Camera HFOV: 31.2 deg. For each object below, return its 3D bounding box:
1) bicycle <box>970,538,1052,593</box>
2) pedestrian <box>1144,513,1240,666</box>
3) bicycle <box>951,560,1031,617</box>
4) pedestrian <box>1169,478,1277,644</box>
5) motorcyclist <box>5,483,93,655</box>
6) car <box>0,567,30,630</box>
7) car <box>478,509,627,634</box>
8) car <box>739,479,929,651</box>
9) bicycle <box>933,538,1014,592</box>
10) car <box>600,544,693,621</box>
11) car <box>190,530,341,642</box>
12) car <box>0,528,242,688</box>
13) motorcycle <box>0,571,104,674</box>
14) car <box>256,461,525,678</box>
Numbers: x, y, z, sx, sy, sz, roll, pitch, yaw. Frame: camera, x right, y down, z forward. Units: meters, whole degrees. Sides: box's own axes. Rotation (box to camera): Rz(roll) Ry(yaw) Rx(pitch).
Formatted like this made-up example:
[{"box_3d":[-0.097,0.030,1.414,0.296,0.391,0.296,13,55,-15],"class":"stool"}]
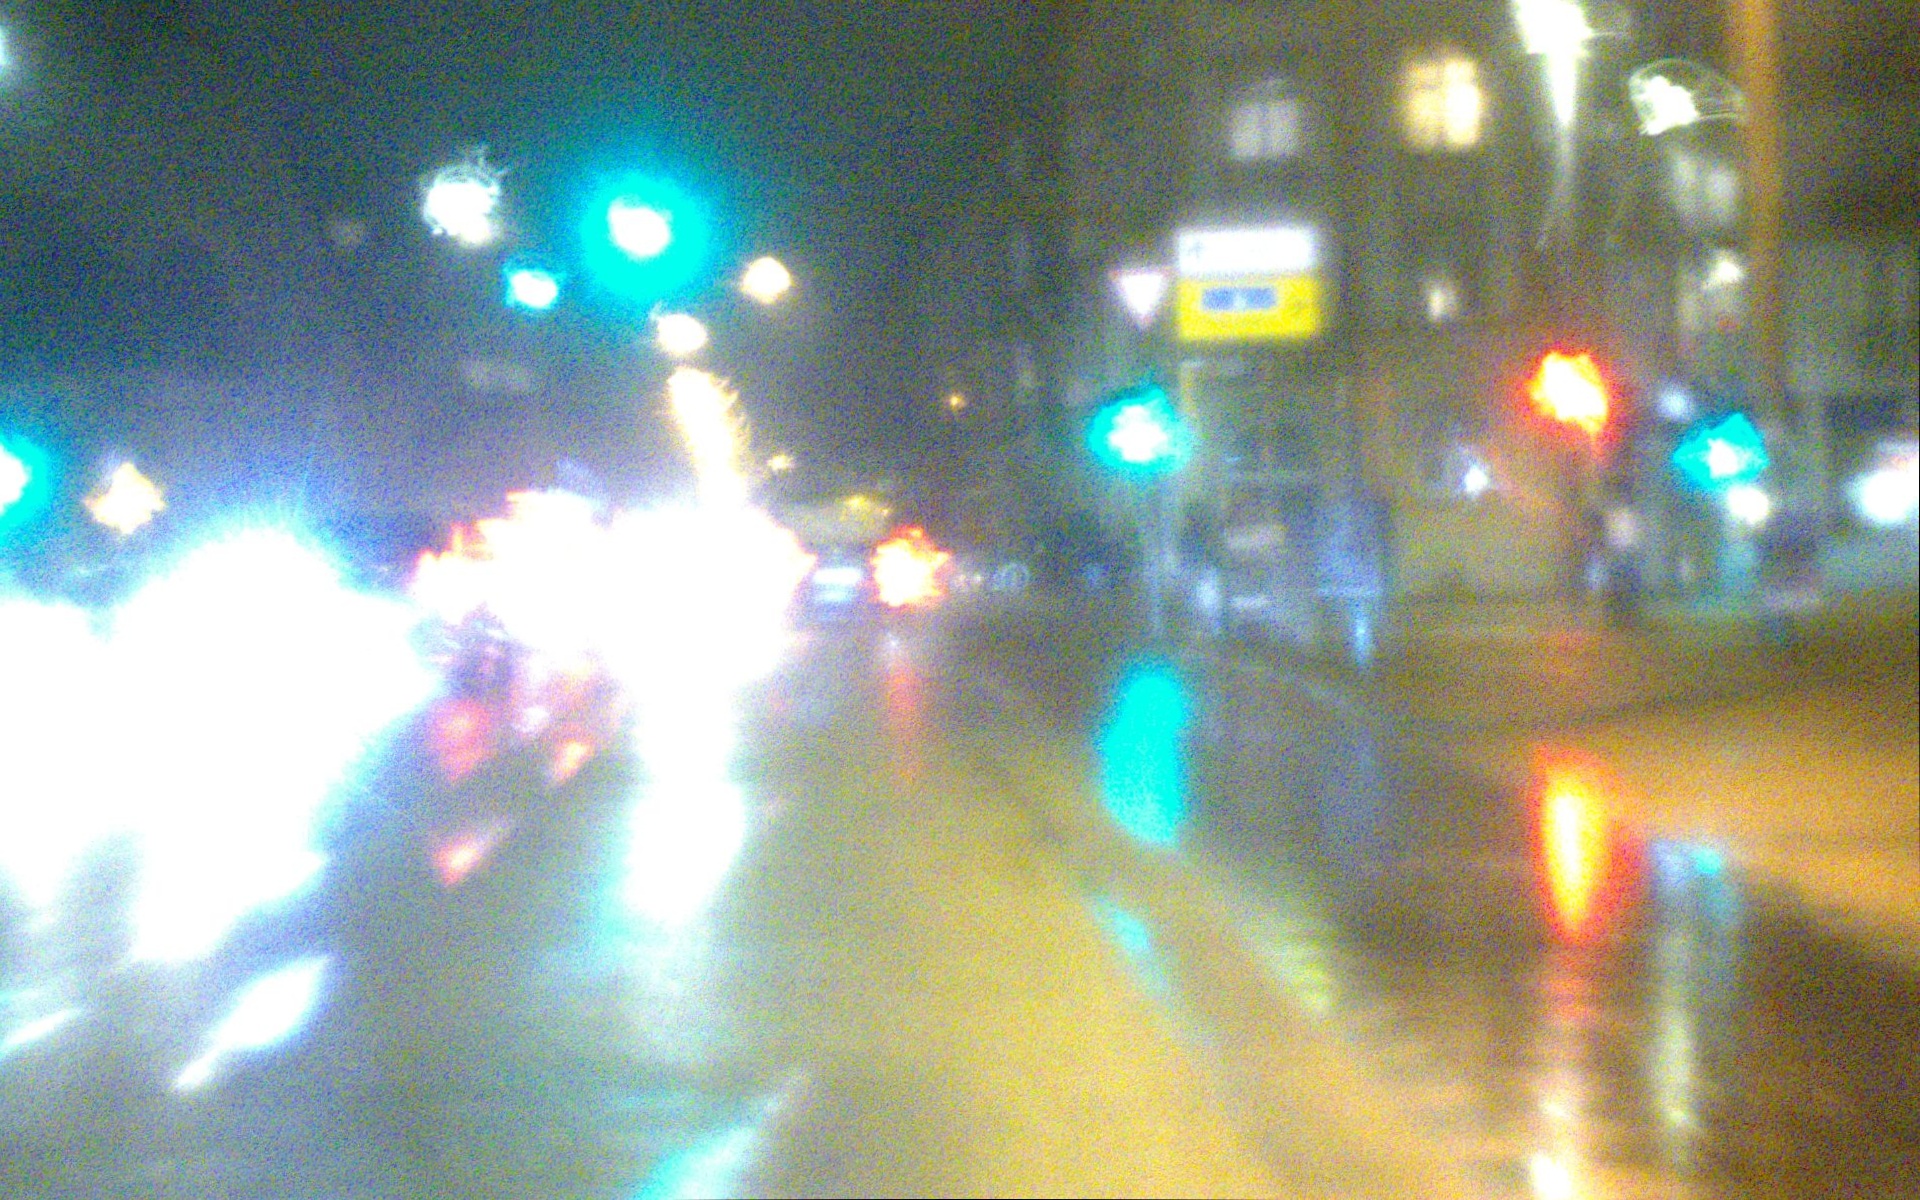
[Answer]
[{"box_3d":[1.278,-0.868,85.898,1.896,1.247,0.711,-3,0,-8],"class":"bicycle"},{"box_3d":[2.831,-0.137,42.053,1.107,1.819,0.851,-2,1,3],"class":"pedestrian"},{"box_3d":[0.787,-0.292,88.038,1.896,1.355,0.596,-3,0,-8],"class":"bicycle"},{"box_3d":[2.947,-0.444,38.615,1.107,1.819,0.851,-2,1,1],"class":"pedestrian"},{"box_3d":[-10.807,-0.375,40.812,0.693,2.007,0.982,-2,1,2],"class":"motorcyclist"},{"box_3d":[-27.829,0.028,95.418,1.699,1.695,4.189,-1,2,21],"class":"car"},{"box_3d":[-5.382,-0.372,45.857,1.817,1.537,4.727,-1,0,-5],"class":"car"},{"box_3d":[-1.631,-0.431,42.869,2.168,1.965,4.302,-2,1,-4],"class":"car"},{"box_3d":[0.338,-0.891,87.068,1.896,1.247,0.596,-3,0,-8],"class":"bicycle"},{"box_3d":[-6.615,-0.372,72.222,1.706,1.537,3.990,-1,0,-8],"class":"car"},{"box_3d":[-10.395,-0.244,51.679,1.645,1.506,4.110,-4,1,-5],"class":"car"},{"box_3d":[-8.696,0.026,35.770,1.852,1.494,4.771,-2,1,-6],"class":"car"},{"box_3d":[-10.800,0.254,40.663,0.701,1.134,2.175,-2,1,2],"class":"motorcycle"},{"box_3d":[-5.757,-0.356,35.381,2.034,1.947,5.201,-3,2,-3],"class":"car"}]
